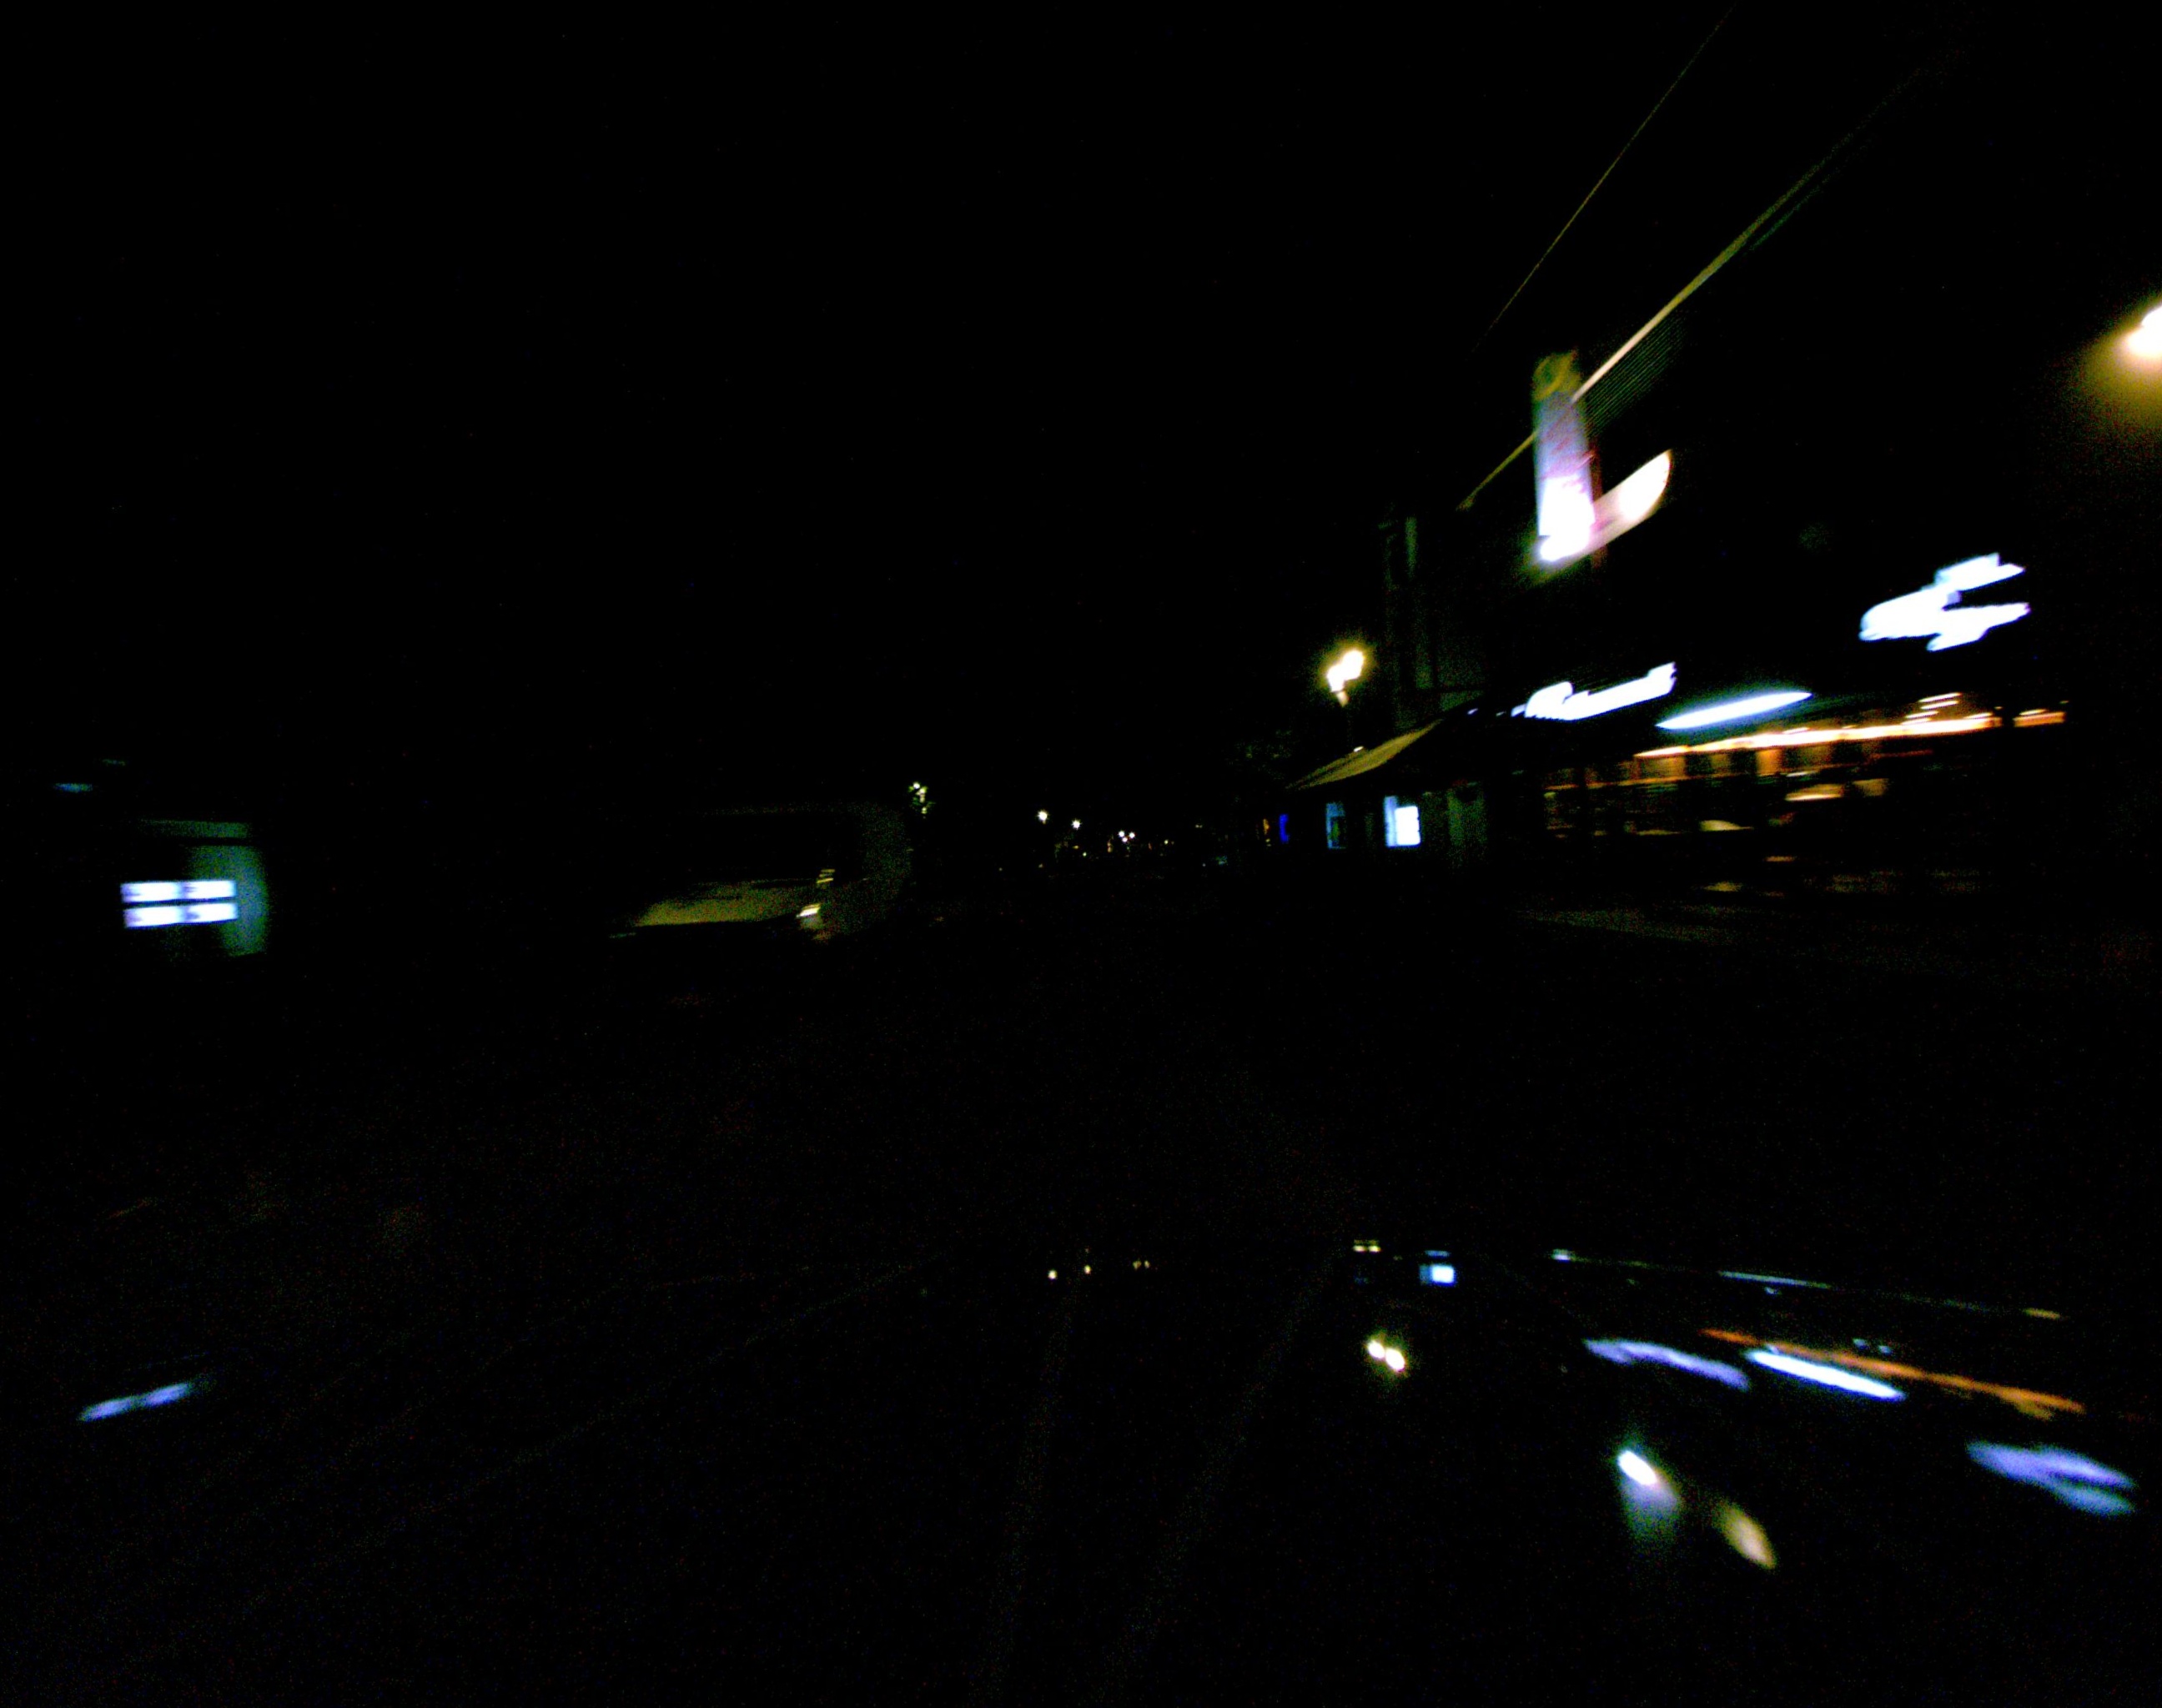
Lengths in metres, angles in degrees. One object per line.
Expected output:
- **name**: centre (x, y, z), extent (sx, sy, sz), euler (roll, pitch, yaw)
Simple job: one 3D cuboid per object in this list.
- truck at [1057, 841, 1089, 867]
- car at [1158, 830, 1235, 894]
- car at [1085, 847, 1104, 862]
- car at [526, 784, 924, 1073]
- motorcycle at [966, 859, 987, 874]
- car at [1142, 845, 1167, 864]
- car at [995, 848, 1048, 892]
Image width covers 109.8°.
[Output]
- **truck**: centre (-0.706, -0.044, 70.274), extent (2.109, 2.230, 6.289), euler (-3, 0, 6)
- **car**: centre (4.106, 0.253, 27.860), extent (1.929, 1.954, 5.076), euler (-5, 0, 1)
- **car**: centre (1.528, 0.064, 85.487), extent (1.737, 1.493, 4.001), euler (-3, 0, 7)
- **car**: centre (-3.521, 0.615, 8.967), extent (2.140, 2.313, 5.151), euler (-4, 0, 0)
- **motorcycle**: centre (-9.301, 1.101, 67.602), extent (1.725, 1.244, 0.433), euler (-4, 1, -6)
- **car**: centre (6.308, 0.016, 65.277), extent (1.795, 1.496, 4.000), euler (-4, 0, 2)
- **car**: centre (-2.670, 0.664, 35.120), extent (1.912, 1.792, 4.936), euler (-4, 0, 1)
